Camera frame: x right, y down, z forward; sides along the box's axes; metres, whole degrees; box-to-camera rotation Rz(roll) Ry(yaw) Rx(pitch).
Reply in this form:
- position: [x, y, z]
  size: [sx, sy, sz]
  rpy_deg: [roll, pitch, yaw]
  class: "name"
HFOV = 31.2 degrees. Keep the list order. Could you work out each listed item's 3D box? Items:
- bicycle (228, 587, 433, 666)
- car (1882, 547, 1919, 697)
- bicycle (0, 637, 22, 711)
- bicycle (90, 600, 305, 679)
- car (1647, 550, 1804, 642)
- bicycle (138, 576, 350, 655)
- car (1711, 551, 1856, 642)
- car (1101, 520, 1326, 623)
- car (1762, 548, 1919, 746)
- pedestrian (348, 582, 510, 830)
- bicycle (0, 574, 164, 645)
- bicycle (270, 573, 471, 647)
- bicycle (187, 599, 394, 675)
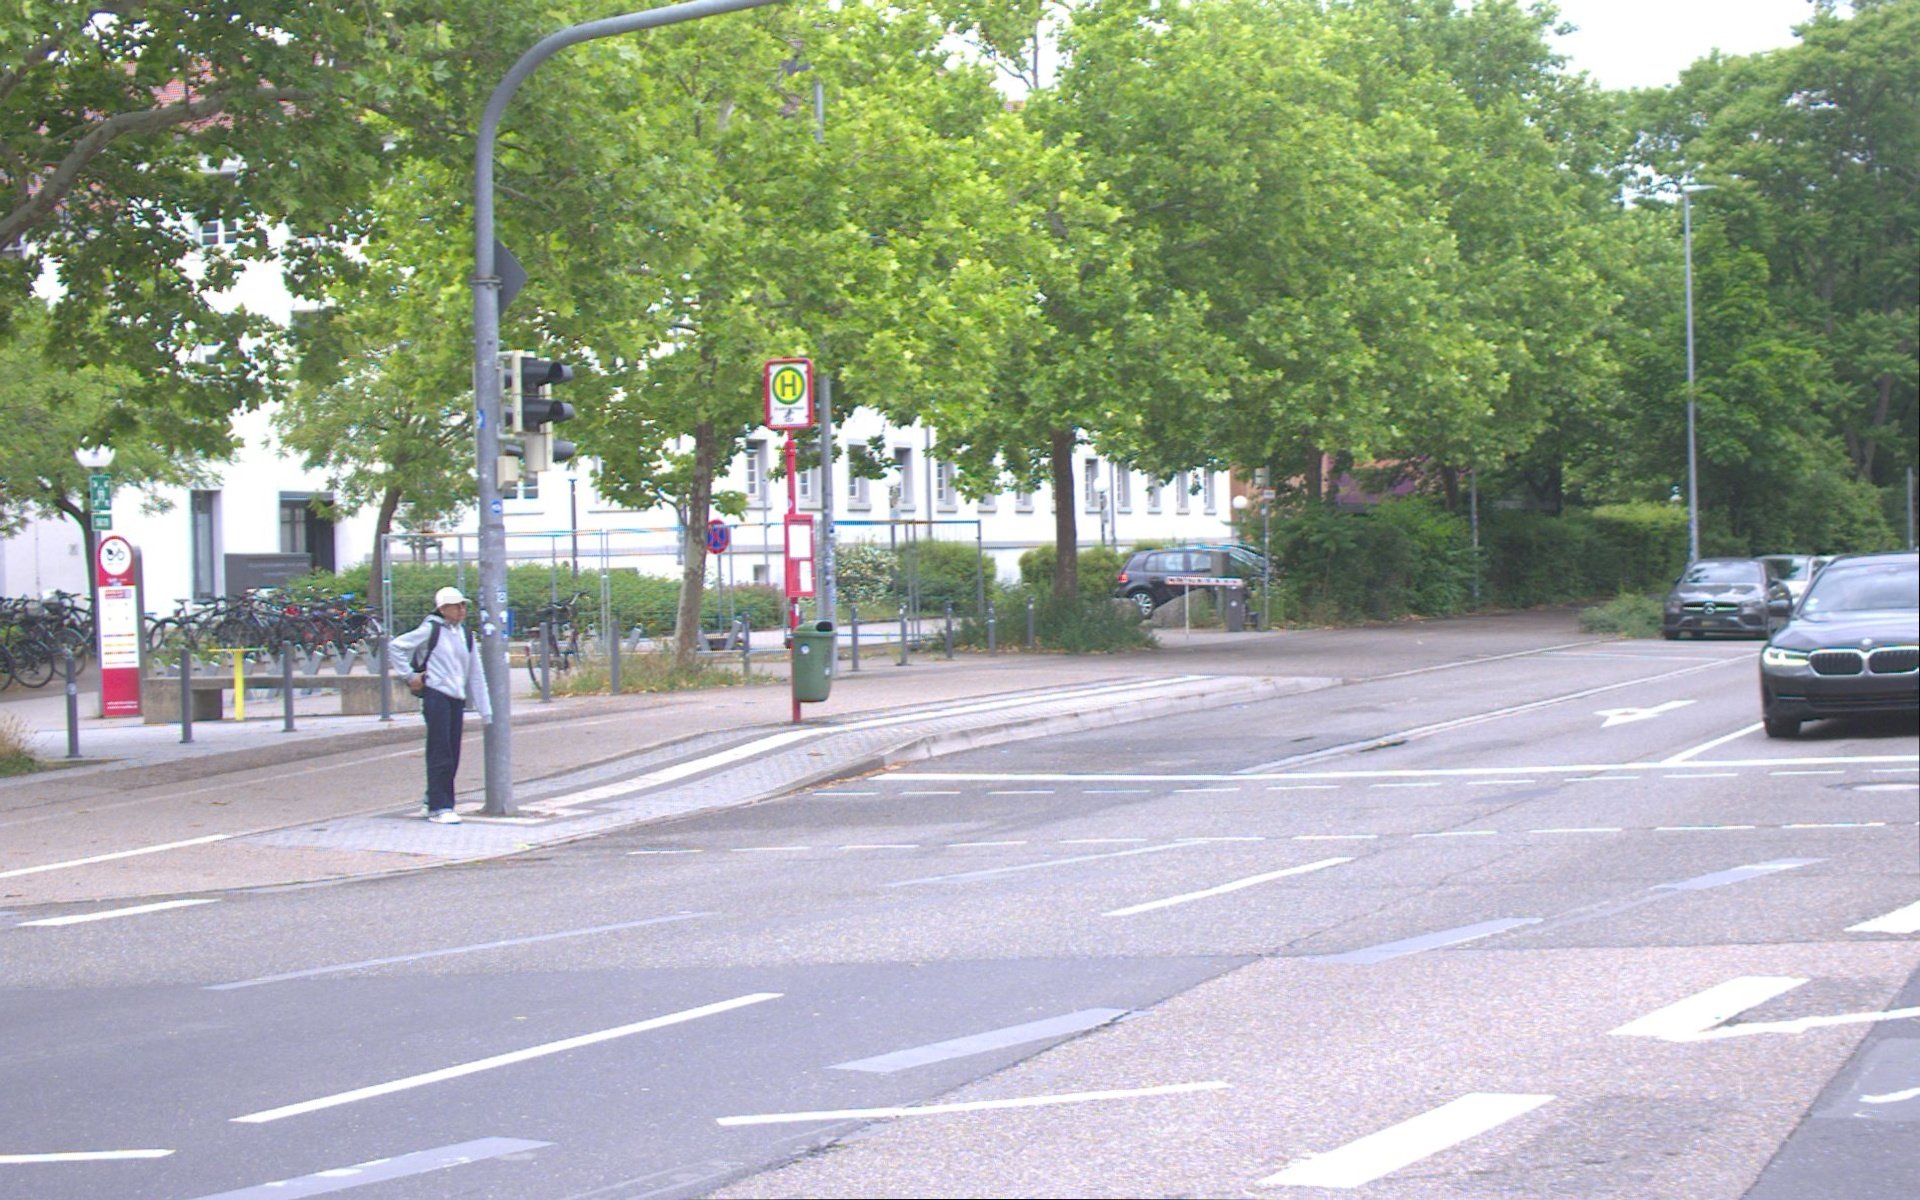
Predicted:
- position: [-10.555, 0.445, 57.614]
  size: [3.387, 1.166, 1.054]
  rpy_deg: [-2, 0, 26]
  class: "bicycle"
- position: [10.762, 0.158, 35.160]
  size: [1.996, 1.448, 3.995]
  rpy_deg: [-1, 1, 23]
  class: "car"
- position: [-16.740, 1.172, 55.776]
  size: [3.101, 1.166, 0.747]
  rpy_deg: [1, 0, 22]
  class: "bicycle"
- position: [-12.031, 0.606, 54.194]
  size: [3.388, 1.166, 1.054]
  rpy_deg: [1, 1, 26]
  class: "bicycle"
- position: [13.669, -0.087, 61.211]
  size: [1.996, 1.507, 3.995]
  rpy_deg: [-1, 1, 23]
  class: "car"
- position: [-11.564, 0.254, 55.454]
  size: [3.387, 1.166, 1.054]
  rpy_deg: [-1, 1, 26]
  class: "bicycle"
- position: [15.729, -0.089, 65.533]
  size: [1.996, 1.612, 3.995]
  rpy_deg: [-1, 1, 23]
  class: "car"
- position: [4.698, -0.531, 63.978]
  size: [4.053, 1.747, 2.000]
  rpy_deg: [-2, 1, 4]
  class: "car"
- position: [8.009, 0.317, 28.710]
  size: [1.995, 1.484, 4.288]
  rpy_deg: [-2, 1, 20]
  class: "car"
- position: [-3.652, 0.714, 23.668]
  size: [0.792, 1.621, 0.756]
  rpy_deg: [2, 3, 33]
  class: "pedestrian"
- position: [-15.318, 0.163, 59.542]
  size: [3.101, 1.166, 0.747]
  rpy_deg: [1, 0, 22]
  class: "bicycle"
- position: [-10.058, 0.171, 58.625]
  size: [3.388, 1.166, 1.054]
  rpy_deg: [-1, 1, 26]
  class: "bicycle"
- position: [-11.027, 0.595, 56.615]
  size: [3.388, 1.166, 1.054]
  rpy_deg: [1, 1, 26]
  class: "bicycle"
